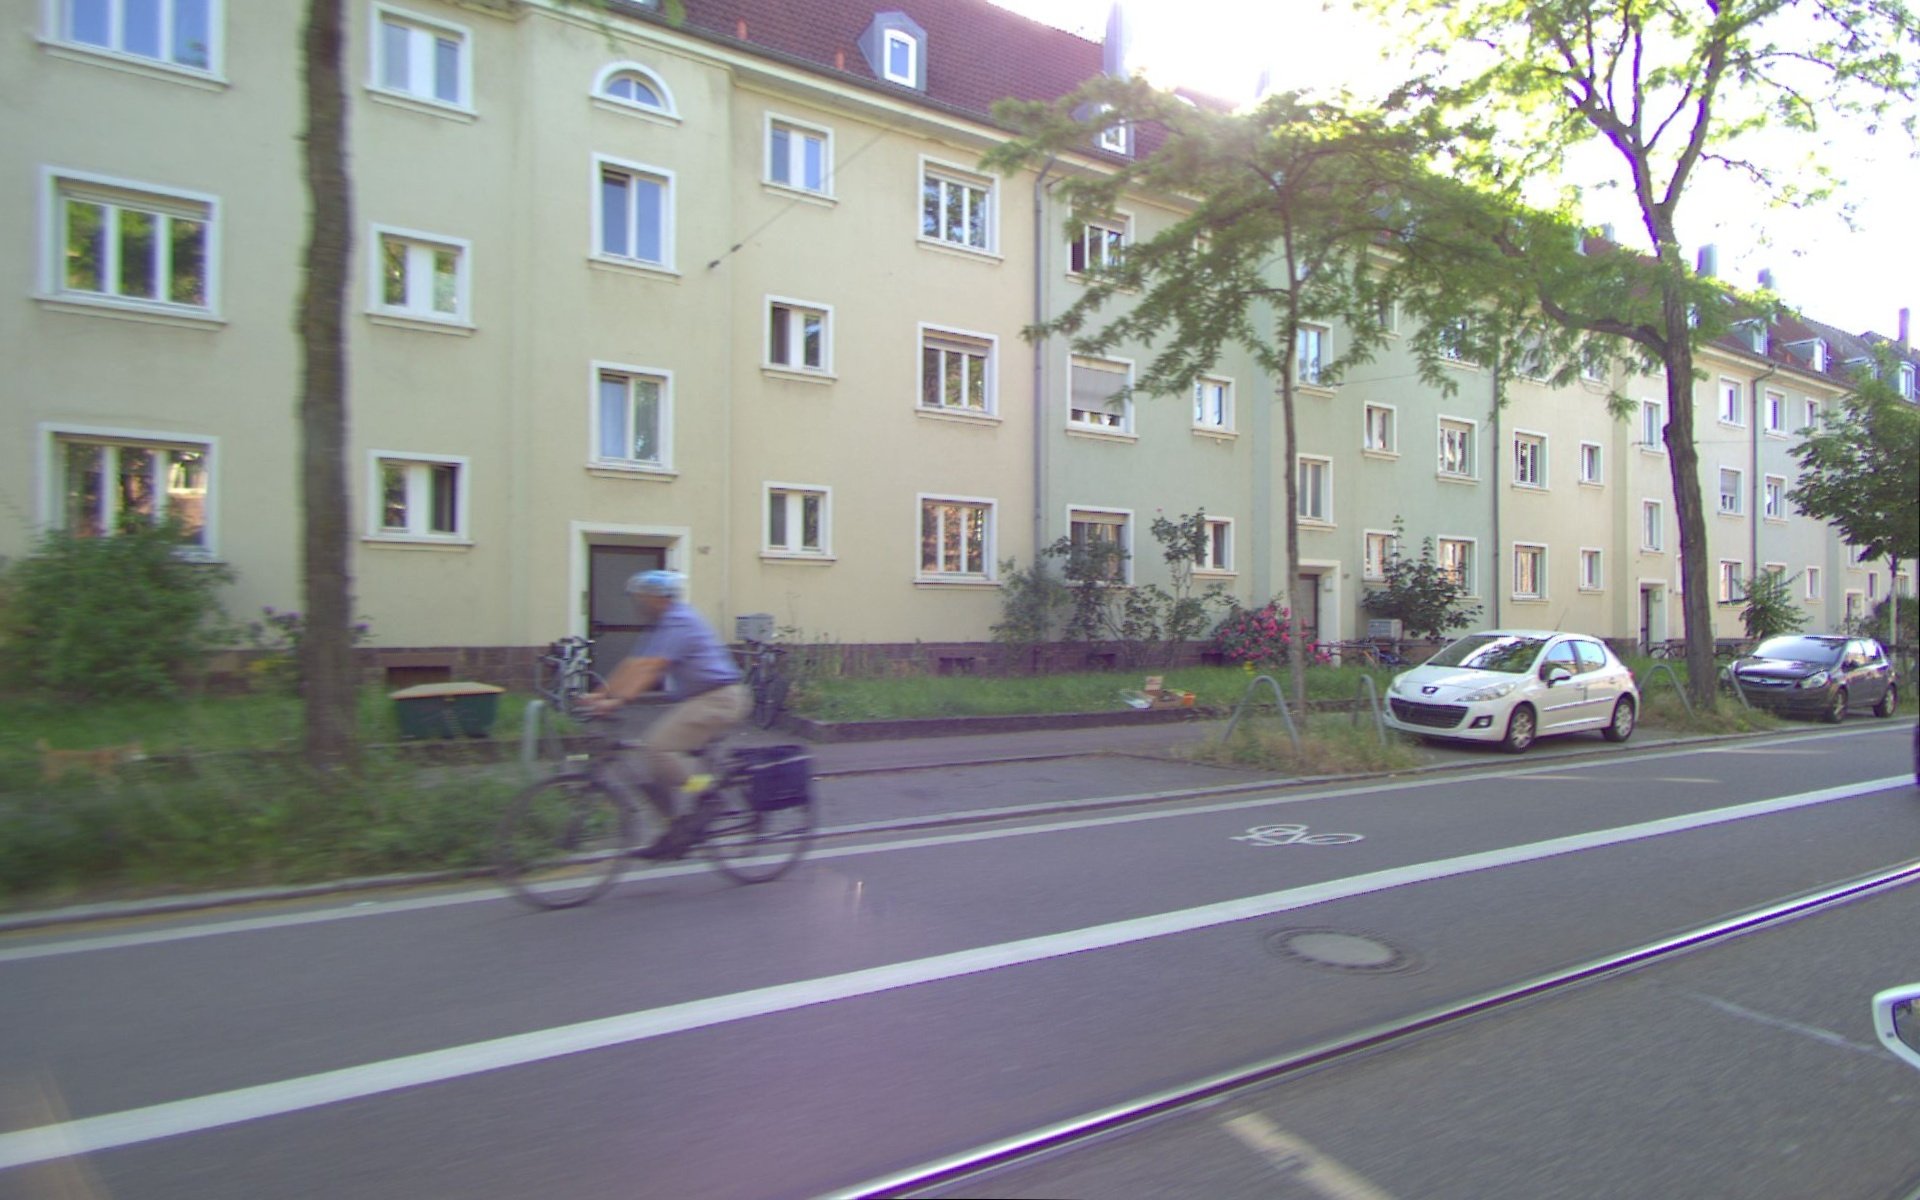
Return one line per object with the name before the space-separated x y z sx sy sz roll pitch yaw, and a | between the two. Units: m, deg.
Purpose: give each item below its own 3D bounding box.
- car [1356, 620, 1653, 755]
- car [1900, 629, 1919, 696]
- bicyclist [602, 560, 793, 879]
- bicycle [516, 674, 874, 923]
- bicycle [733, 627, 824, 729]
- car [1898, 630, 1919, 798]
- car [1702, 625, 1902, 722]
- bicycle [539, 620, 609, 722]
car | 7.440 1.091 13.644 4.031 1.505 1.694 1 1 -31
car | 23.278 1.463 23.048 3.888 1.476 1.551 1 1 -33
bicyclist | -1.511 0.647 5.772 0.929 1.660 0.623 1 -4 -30
bicycle | -1.482 1.045 5.769 1.891 1.193 0.624 1 -4 -31
bicycle | -2.468 1.000 13.477 0.516 1.193 1.896 1 1 -32
car | 10.435 1.027 9.225 4.026 1.458 1.690 1 -1 -32
car | 15.343 1.264 18.275 3.717 1.505 1.678 1 1 -32
bicycle | -5.216 0.908 13.496 0.516 1.193 1.896 1 1 -32
